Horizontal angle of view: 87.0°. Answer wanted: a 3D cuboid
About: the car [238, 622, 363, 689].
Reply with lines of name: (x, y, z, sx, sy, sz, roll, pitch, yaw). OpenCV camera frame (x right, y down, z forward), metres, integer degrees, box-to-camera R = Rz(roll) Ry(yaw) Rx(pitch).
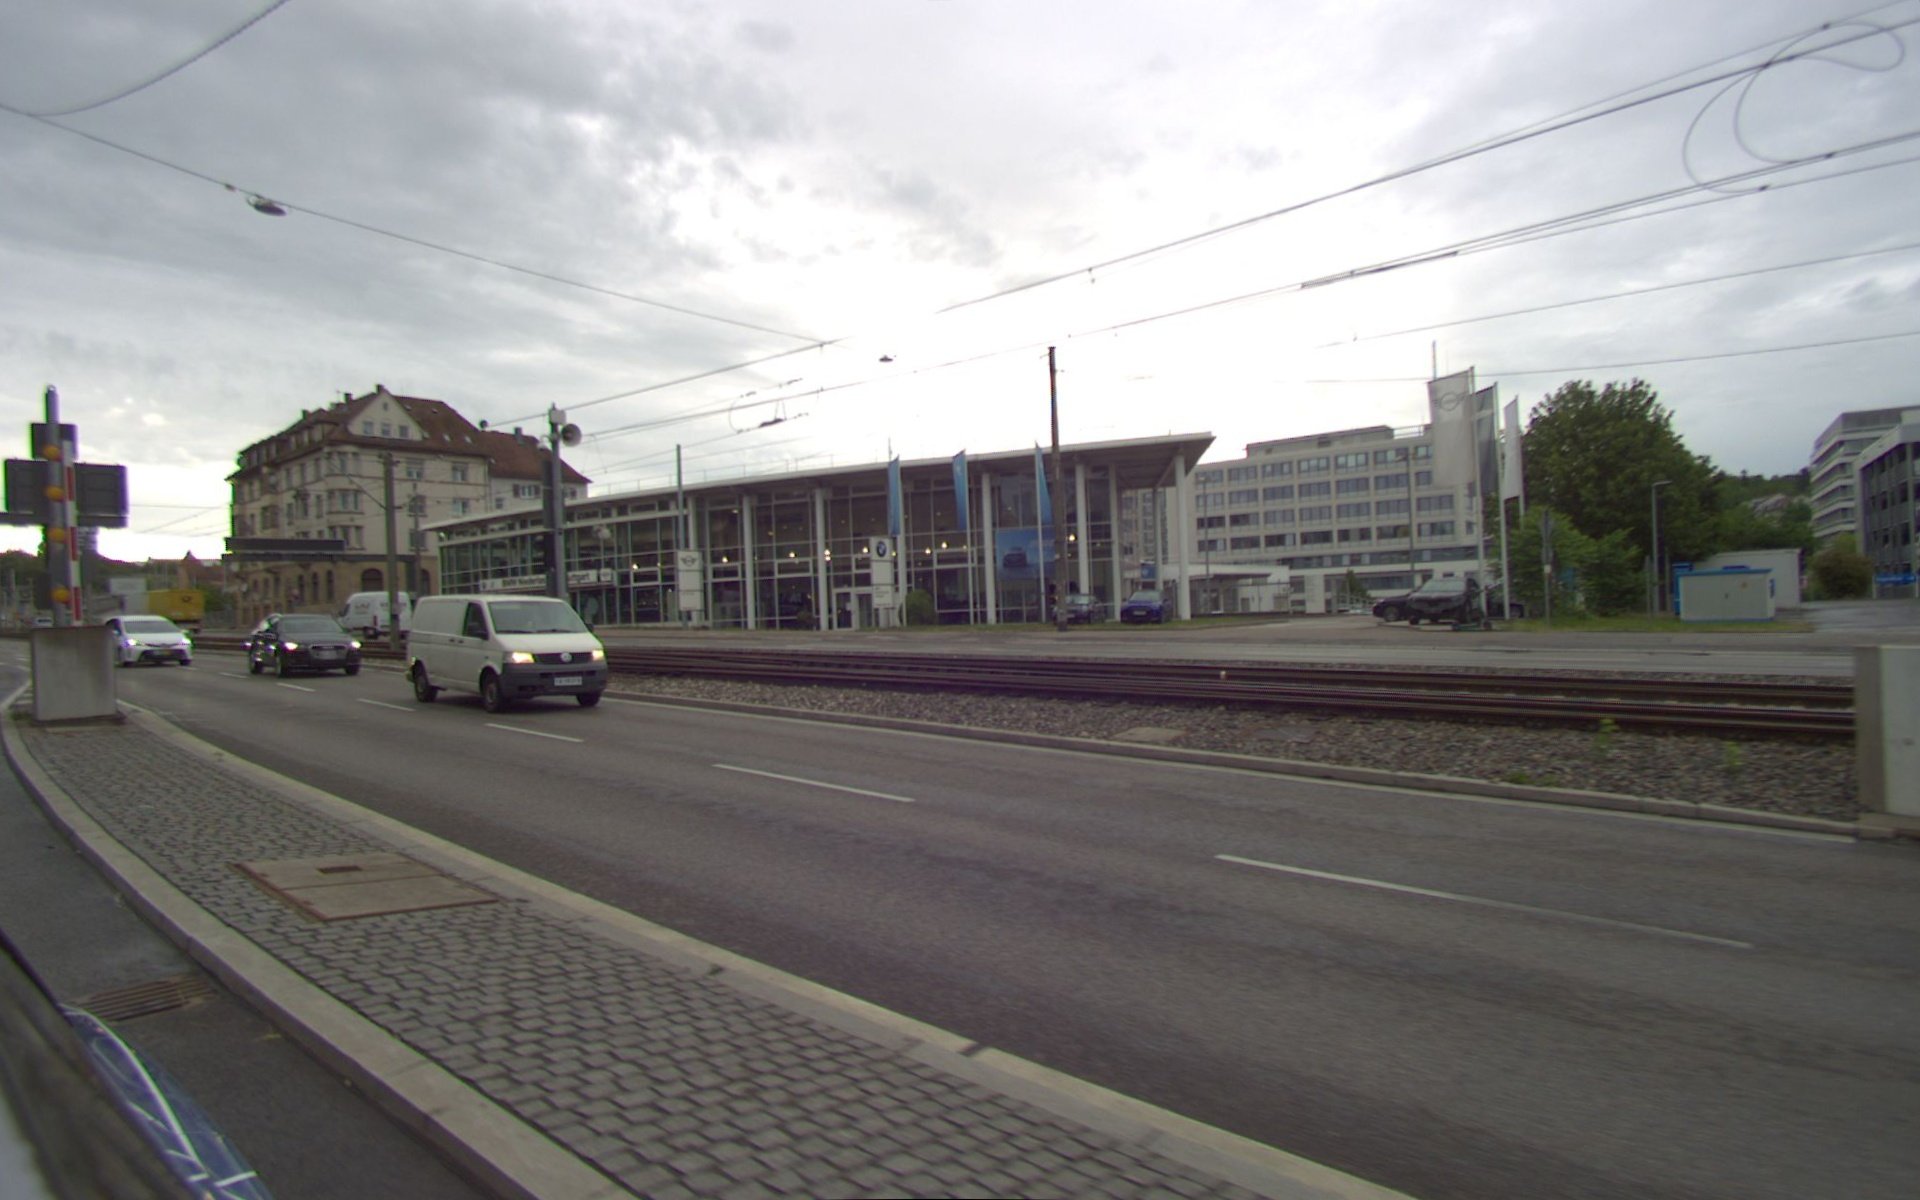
car: (-17.204, 1.401, 26.343, 3.893, 1.585, 1.687, -2, -1, 40)

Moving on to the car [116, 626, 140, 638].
car: (-105.399, 4.064, 128.196, 3.848, 1.415, 1.663, -2, -1, 41)

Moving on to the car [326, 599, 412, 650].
car: (-32.338, 1.350, 55.270, 6.159, 2.618, 2.031, -2, 0, 40)

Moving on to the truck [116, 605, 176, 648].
truck: (-80.259, 2.607, 99.709, 10.133, 4.082, 2.656, -2, -1, 40)

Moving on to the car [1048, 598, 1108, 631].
car: (5.173, 0.587, 43.851, 1.690, 1.244, 3.975, -4, -1, 19)

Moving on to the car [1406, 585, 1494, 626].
car: (16.947, 0.178, 34.939, 1.717, 1.284, 3.476, -2, 0, 44)

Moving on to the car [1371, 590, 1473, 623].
car: (18.443, 0.263, 40.424, 3.424, 1.253, 1.571, -2, 0, 37)

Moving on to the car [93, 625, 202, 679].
car: (-26.025, 1.623, 32.358, 4.316, 1.585, 1.957, -2, -1, 40)

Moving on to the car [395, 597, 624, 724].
car: (-8.135, 1.001, 18.064, 4.715, 1.973, 1.890, -2, -1, 41)

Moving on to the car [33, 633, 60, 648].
car: (-120.561, 5.387, 133.562, 5.188, 1.888, 1.974, -2, -1, 40)

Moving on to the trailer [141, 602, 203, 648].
trailer: (-72.922, 2.302, 93.605, 9.074, 4.082, 2.656, -2, -1, 40)

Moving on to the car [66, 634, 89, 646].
car: (-115.121, 5.236, 131.984, 4.328, 1.444, 1.590, -2, -1, 40)

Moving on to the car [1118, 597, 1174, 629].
car: (7.858, 0.520, 42.537, 1.747, 1.244, 3.975, -1, 0, 19)
